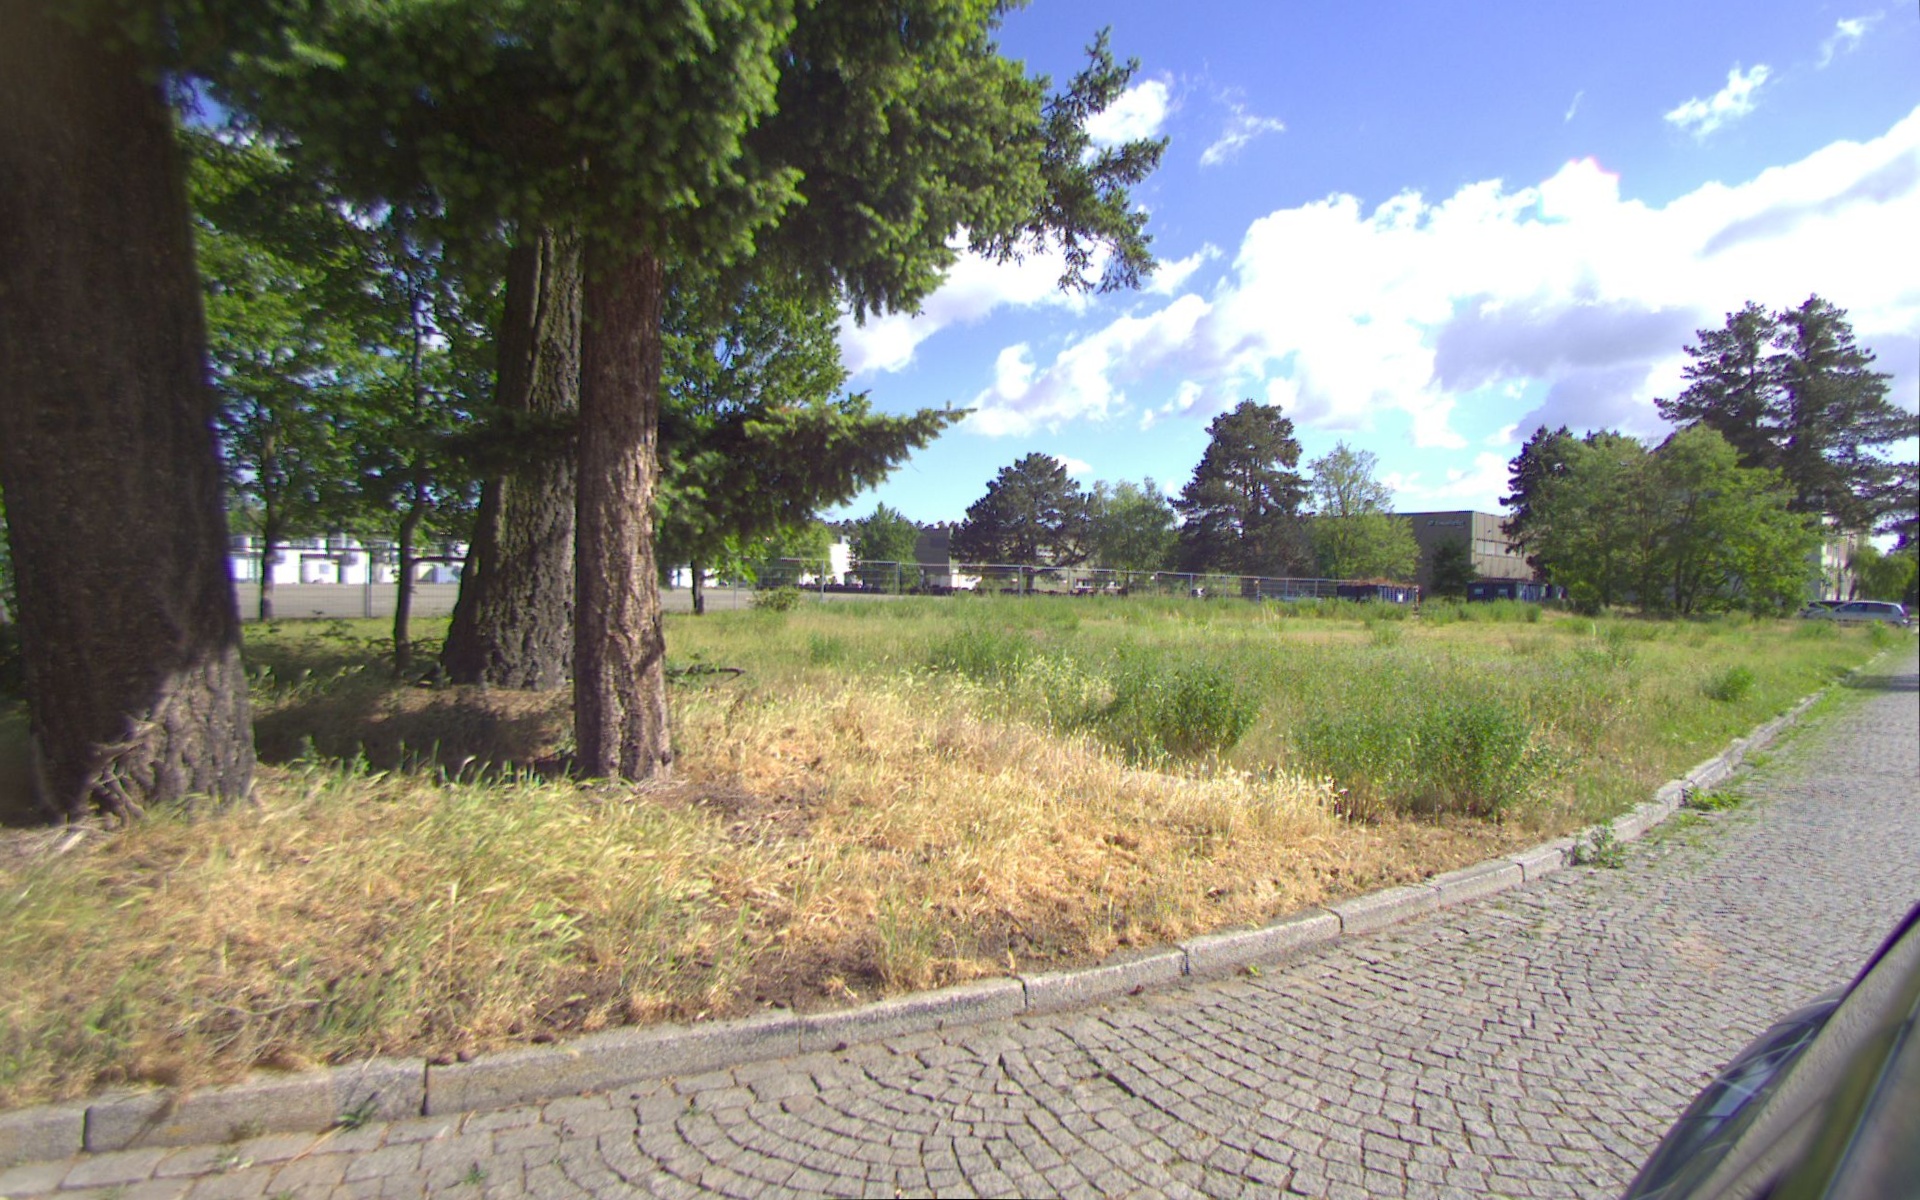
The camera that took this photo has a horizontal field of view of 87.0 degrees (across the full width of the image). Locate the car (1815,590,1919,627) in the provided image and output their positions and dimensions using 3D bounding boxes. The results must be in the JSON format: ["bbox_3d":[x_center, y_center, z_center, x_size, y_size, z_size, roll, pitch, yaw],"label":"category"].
[{"bbox_3d":[43.903,0.371,48.916,3.743,1.494,1.724,6,4,44],"label":"car"}]

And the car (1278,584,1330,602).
[{"bbox_3d":[30.131,-0.612,88.732,1.717,1.440,3.990,2,0,-44],"label":"car"}]

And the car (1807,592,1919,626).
[{"bbox_3d":[49.020,0.445,54.914,4.514,1.482,1.810,5,4,43],"label":"car"}]
